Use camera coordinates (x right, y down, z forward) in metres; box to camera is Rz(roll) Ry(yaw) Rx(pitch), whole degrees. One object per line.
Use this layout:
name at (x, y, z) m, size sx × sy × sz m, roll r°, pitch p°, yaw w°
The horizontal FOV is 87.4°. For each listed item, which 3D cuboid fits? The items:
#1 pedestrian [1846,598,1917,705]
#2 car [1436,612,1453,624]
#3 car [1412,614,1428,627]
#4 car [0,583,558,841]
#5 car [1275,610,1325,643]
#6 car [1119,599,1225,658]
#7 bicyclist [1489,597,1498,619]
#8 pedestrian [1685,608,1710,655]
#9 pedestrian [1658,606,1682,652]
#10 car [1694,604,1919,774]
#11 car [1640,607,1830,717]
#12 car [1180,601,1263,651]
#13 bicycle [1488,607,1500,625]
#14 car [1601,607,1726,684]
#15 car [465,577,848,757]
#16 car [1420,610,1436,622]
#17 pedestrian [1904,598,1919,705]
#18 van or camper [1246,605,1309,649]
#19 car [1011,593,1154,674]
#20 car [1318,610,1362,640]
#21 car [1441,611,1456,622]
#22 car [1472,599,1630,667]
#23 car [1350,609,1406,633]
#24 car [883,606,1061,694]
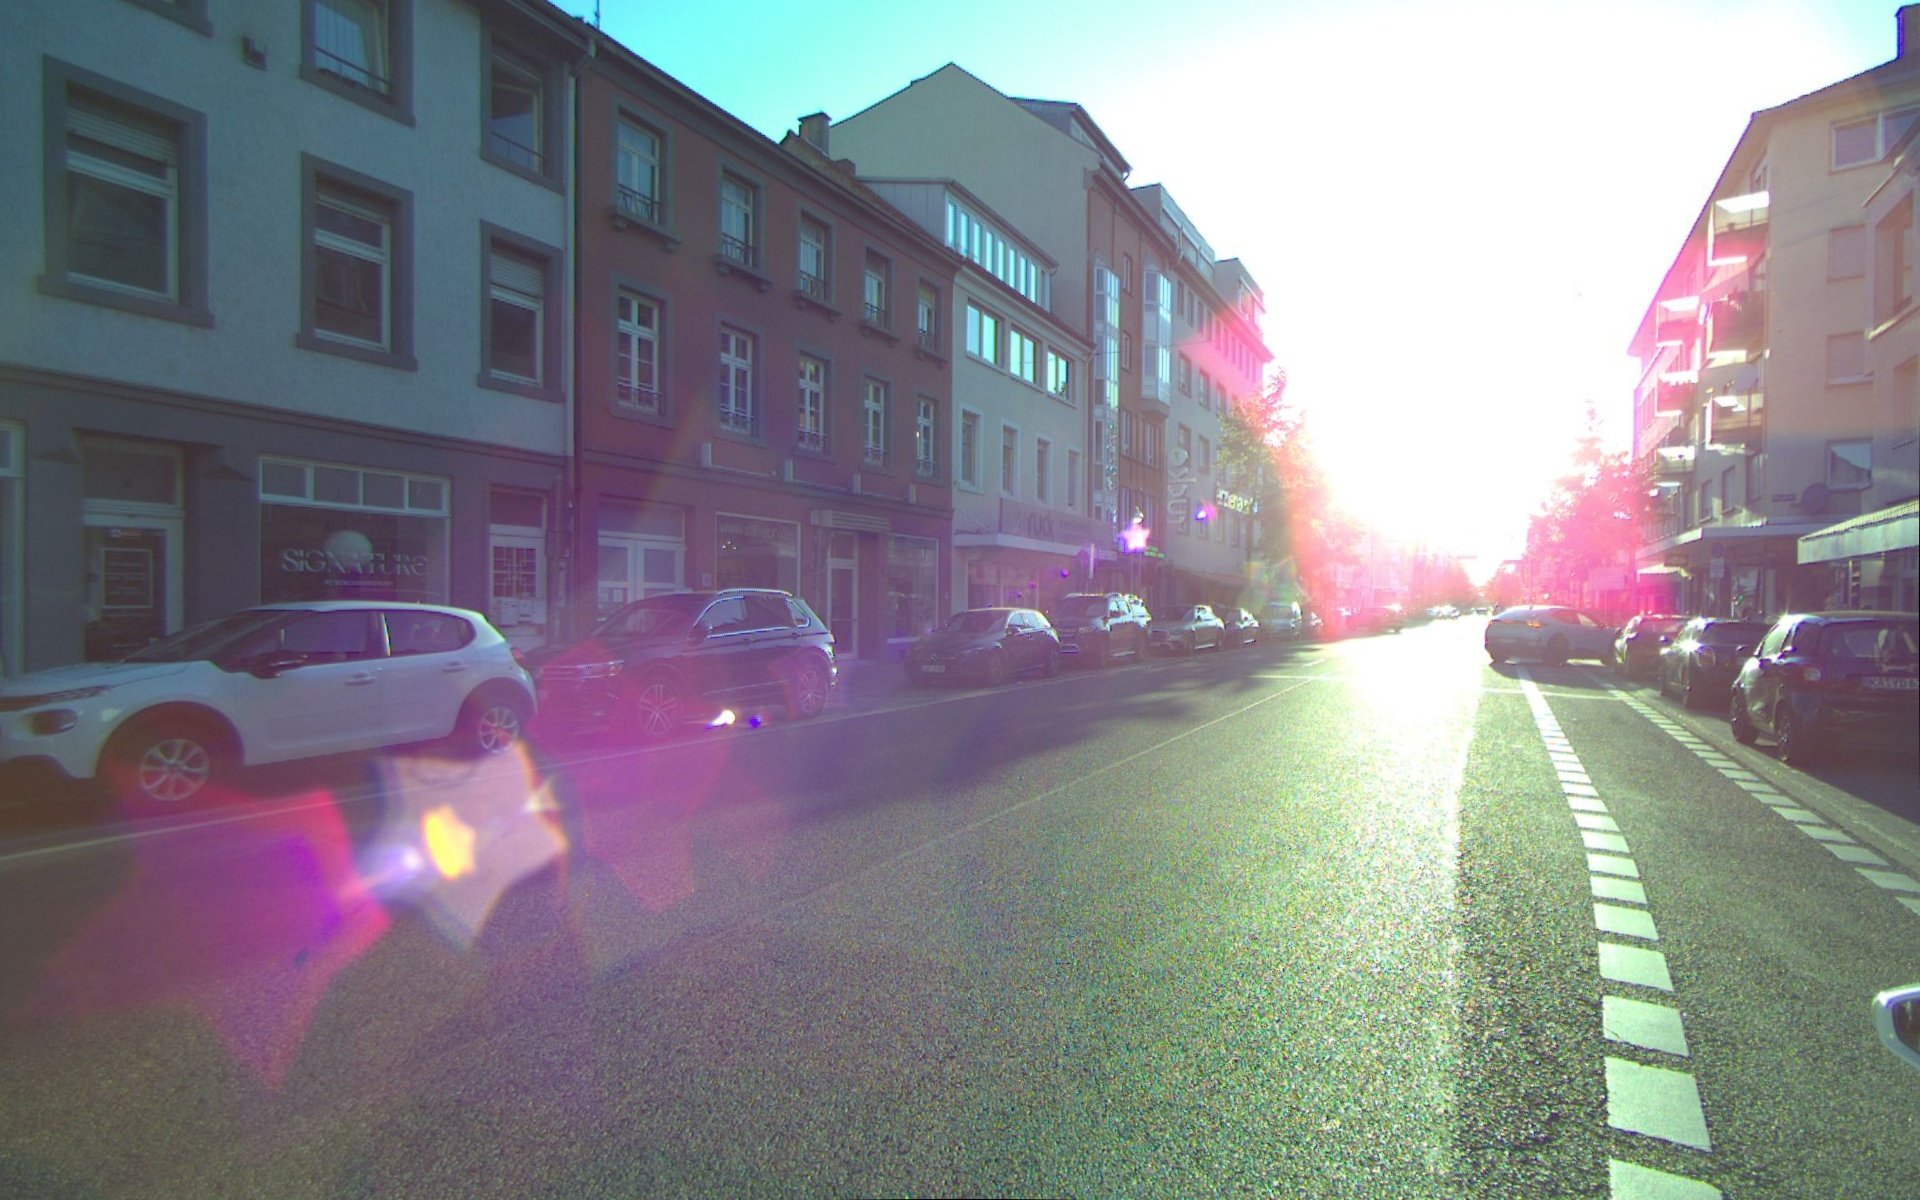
pedestrian at (15.364, 0.830, 16.768) m, size 0.620 × 1.722 × 1.039 m, roll 0°, pitch 0°, yaw 27°
car at (63.228, 2.361, 131.033) m, size 1.665 × 1.523 × 3.780 m, roll 1°, pitch 0°, yaw 30°
car at (60.593, 2.694, 132.228) m, size 1.665 × 1.523 × 3.780 m, roll 1°, pitch 0°, yaw 30°
car at (-5.520, 0.721, 8.321) m, size 1.637 × 1.594 × 3.928 m, roll -1°, pitch -1°, yaw 29°
car at (16.883, 1.274, 49.773) m, size 1.665 × 1.523 × 3.780 m, roll 1°, pitch 0°, yaw 30°
car at (6.620, 0.841, 31.034) m, size 1.964 × 1.677 × 4.620 m, roll -1°, pitch -1°, yaw 29°
bicyclist at (39.464, 0.593, 74.294) m, size 0.539 × 1.602 × 0.801 m, roll 0°, pitch 0°, yaw 31°
pedestrian at (28.737, 1.226, 39.157) m, size 0.707 × 1.815 × 0.665 m, roll 0°, pitch 0°, yaw 29°
pedestrian at (28.487, 1.169, 40.316) m, size 0.707 × 1.815 × 0.665 m, roll 0°, pitch 0°, yaw 29°
car at (9.866, 0.860, 11.413) m, size 1.761 × 1.601 × 3.963 m, roll 1°, pitch 0°, yaw 26°
car at (12.829, 0.923, 16.882) m, size 1.761 × 1.601 × 3.783 m, roll 1°, pitch 0°, yaw 26°
car at (9.485, 0.899, 36.224) m, size 1.963 × 1.677 × 4.474 m, roll 1°, pitch 0°, yaw 27°
bicycle at (39.562, 1.175, 74.367) m, size 0.654 × 1.259 × 2.125 m, roll 3°, pitch 1°, yaw 31°
car at (16.074, 0.965, 23.125) m, size 1.761 × 1.601 × 3.783 m, roll 1°, pitch 0°, yaw 26°
car at (-3.331, 0.682, 12.001) m, size 1.767 × 1.721 × 4.454 m, roll -2°, pitch -1°, yaw 27°
car at (64.980, 2.216, 139.440) m, size 1.665 × 1.523 × 3.780 m, roll 1°, pitch 0°, yaw 30°
pedestrian at (15.873, 0.830, 16.331) m, size 0.551 × 1.722 × 0.830 m, roll 0°, pitch 0°, yaw 27°
van or camper at (14.169, 1.152, 44.716) m, size 1.762 × 1.797 × 4.549 m, roll 1°, pitch 0°, yaw 29°
car at (3.222, 0.778, 25.315) m, size 1.963 × 1.801 × 5.313 m, roll -1°, pitch -1°, yaw 26°
car at (20.401, 1.297, 53.878) m, size 1.665 × 1.523 × 3.780 m, roll 1°, pitch 0°, yaw 30°
car at (66.930, 2.269, 137.586) m, size 1.665 × 1.523 × 3.780 m, roll 1°, pitch 0°, yaw 30°
car at (16.597, 0.924, 28.177) m, size 4.268 × 1.720 × 1.865 m, roll 2°, pitch 1°, yaw -29°
car at (28.200, 1.424, 67.906) m, size 1.607 × 1.430 × 3.648 m, roll 2°, pitch 1°, yaw -14°
car at (0.375, 0.902, 19.586) m, size 1.659 × 1.508 × 4.405 m, roll -3°, pitch -1°, yaw 27°
